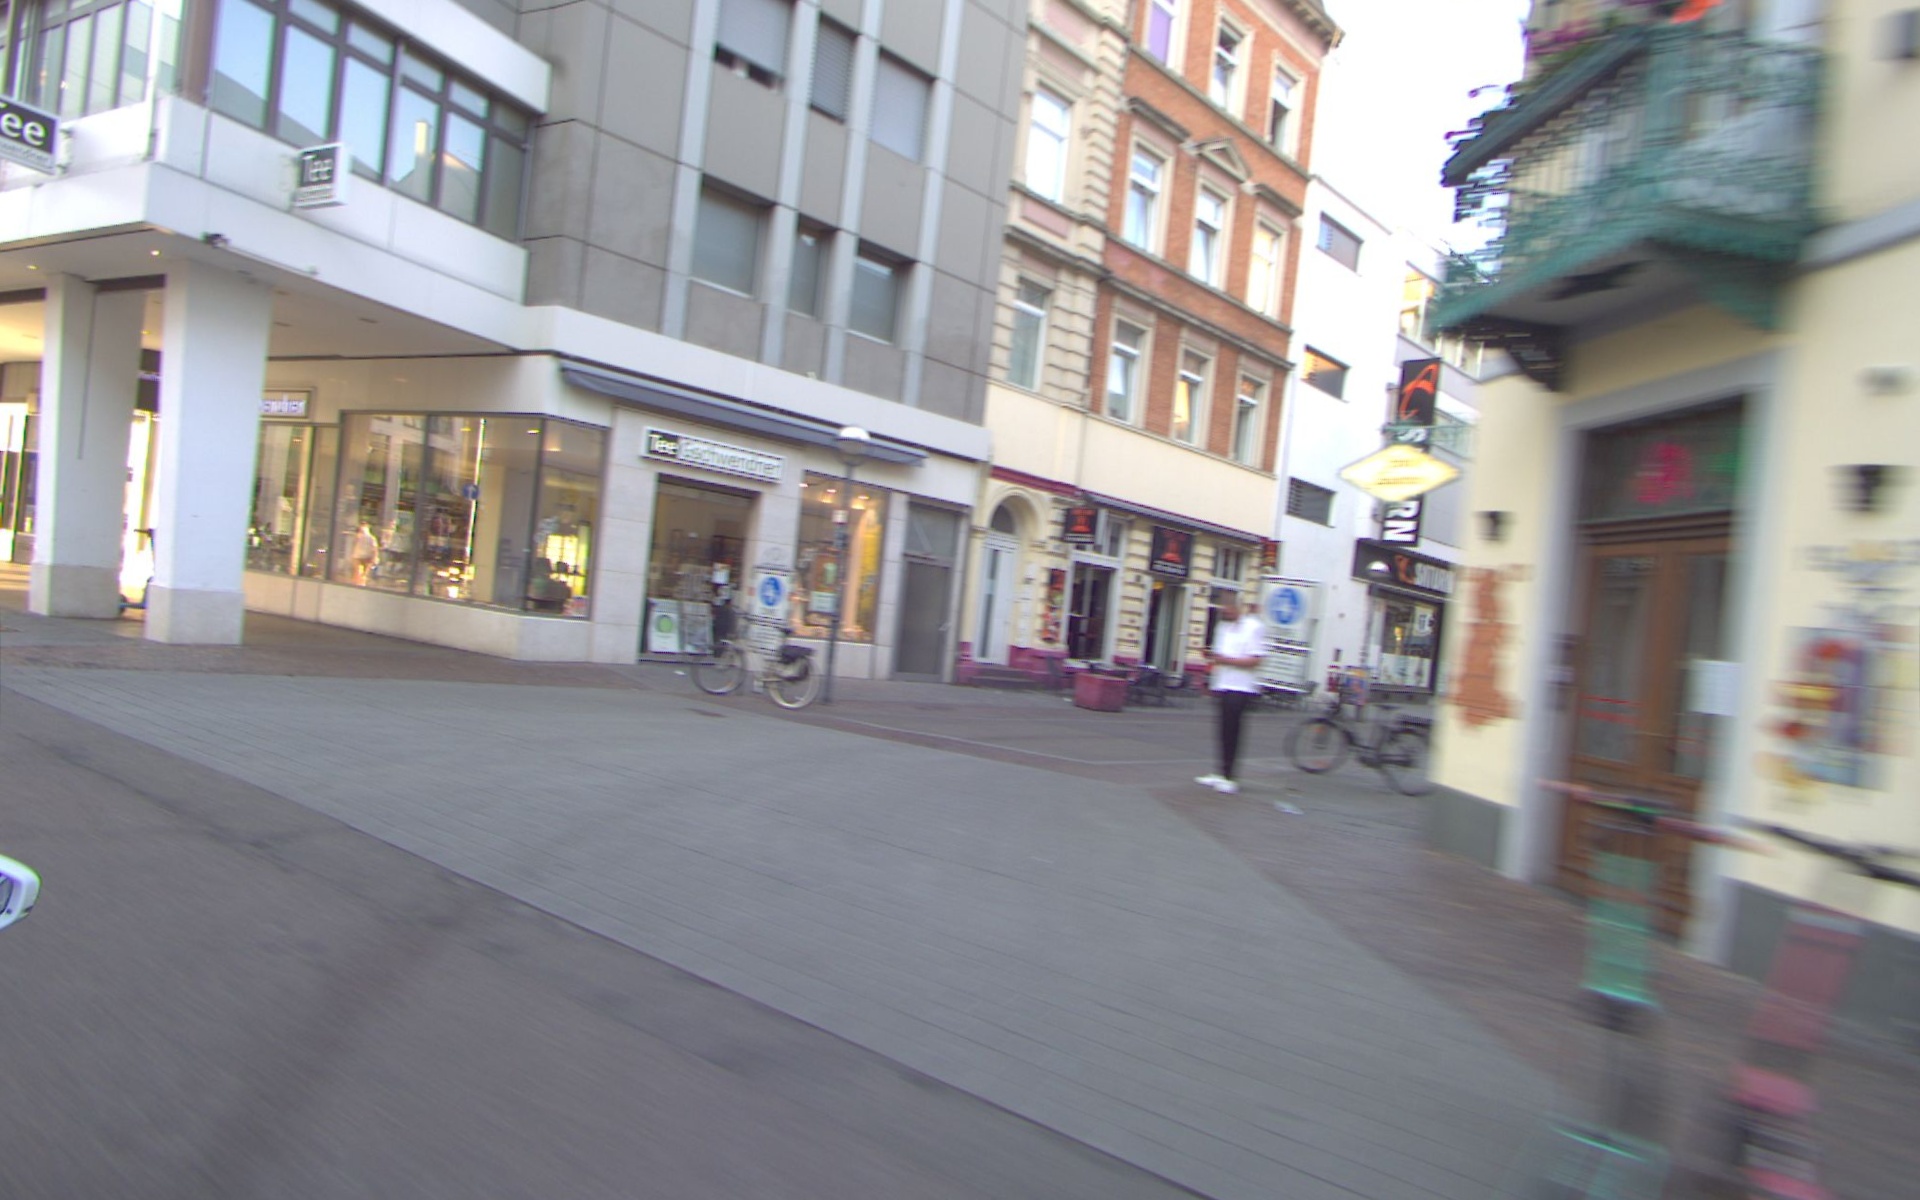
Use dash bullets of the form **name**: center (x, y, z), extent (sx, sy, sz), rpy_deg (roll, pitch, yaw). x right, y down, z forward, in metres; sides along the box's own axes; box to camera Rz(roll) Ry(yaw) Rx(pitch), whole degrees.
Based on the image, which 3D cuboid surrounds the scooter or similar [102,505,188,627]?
- **scooter or similar**: center (-10.980, -0.468, 13.543), extent (1.292, 1.507, 0.314), rpy_deg (6, 1, 28)

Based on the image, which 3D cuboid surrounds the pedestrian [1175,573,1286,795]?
- **pedestrian**: center (2.590, 0.793, 9.675), extent (0.537, 2.039, 0.641), rpy_deg (6, 1, -25)

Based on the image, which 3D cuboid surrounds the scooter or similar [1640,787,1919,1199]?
- **scooter or similar**: center (2.297, 1.205, 2.536), extent (0.267, 1.250, 1.047), rpy_deg (5, 1, -4)

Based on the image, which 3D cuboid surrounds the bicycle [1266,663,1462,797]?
- **bicycle**: center (4.442, 1.411, 11.204), extent (0.764, 1.195, 1.832), rpy_deg (7, -2, -32)

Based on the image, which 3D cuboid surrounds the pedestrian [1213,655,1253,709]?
- **pedestrian**: center (6.163, 1.849, 22.738), extent (0.520, 1.137, 0.559), rpy_deg (6, 1, -39)

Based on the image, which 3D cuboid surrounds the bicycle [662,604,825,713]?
- **bicycle**: center (-2.689, 0.714, 12.447), extent (1.815, 1.041, 0.771), rpy_deg (8, 0, 31)

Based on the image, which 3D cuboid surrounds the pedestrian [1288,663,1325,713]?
- **pedestrian**: center (8.452, 2.151, 24.549), extent (0.520, 1.137, 0.559), rpy_deg (6, 1, -39)

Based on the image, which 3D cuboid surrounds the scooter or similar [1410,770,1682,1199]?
- **scooter or similar**: center (1.681, 1.163, 2.837), extent (0.312, 1.250, 1.172), rpy_deg (7, 2, 43)
